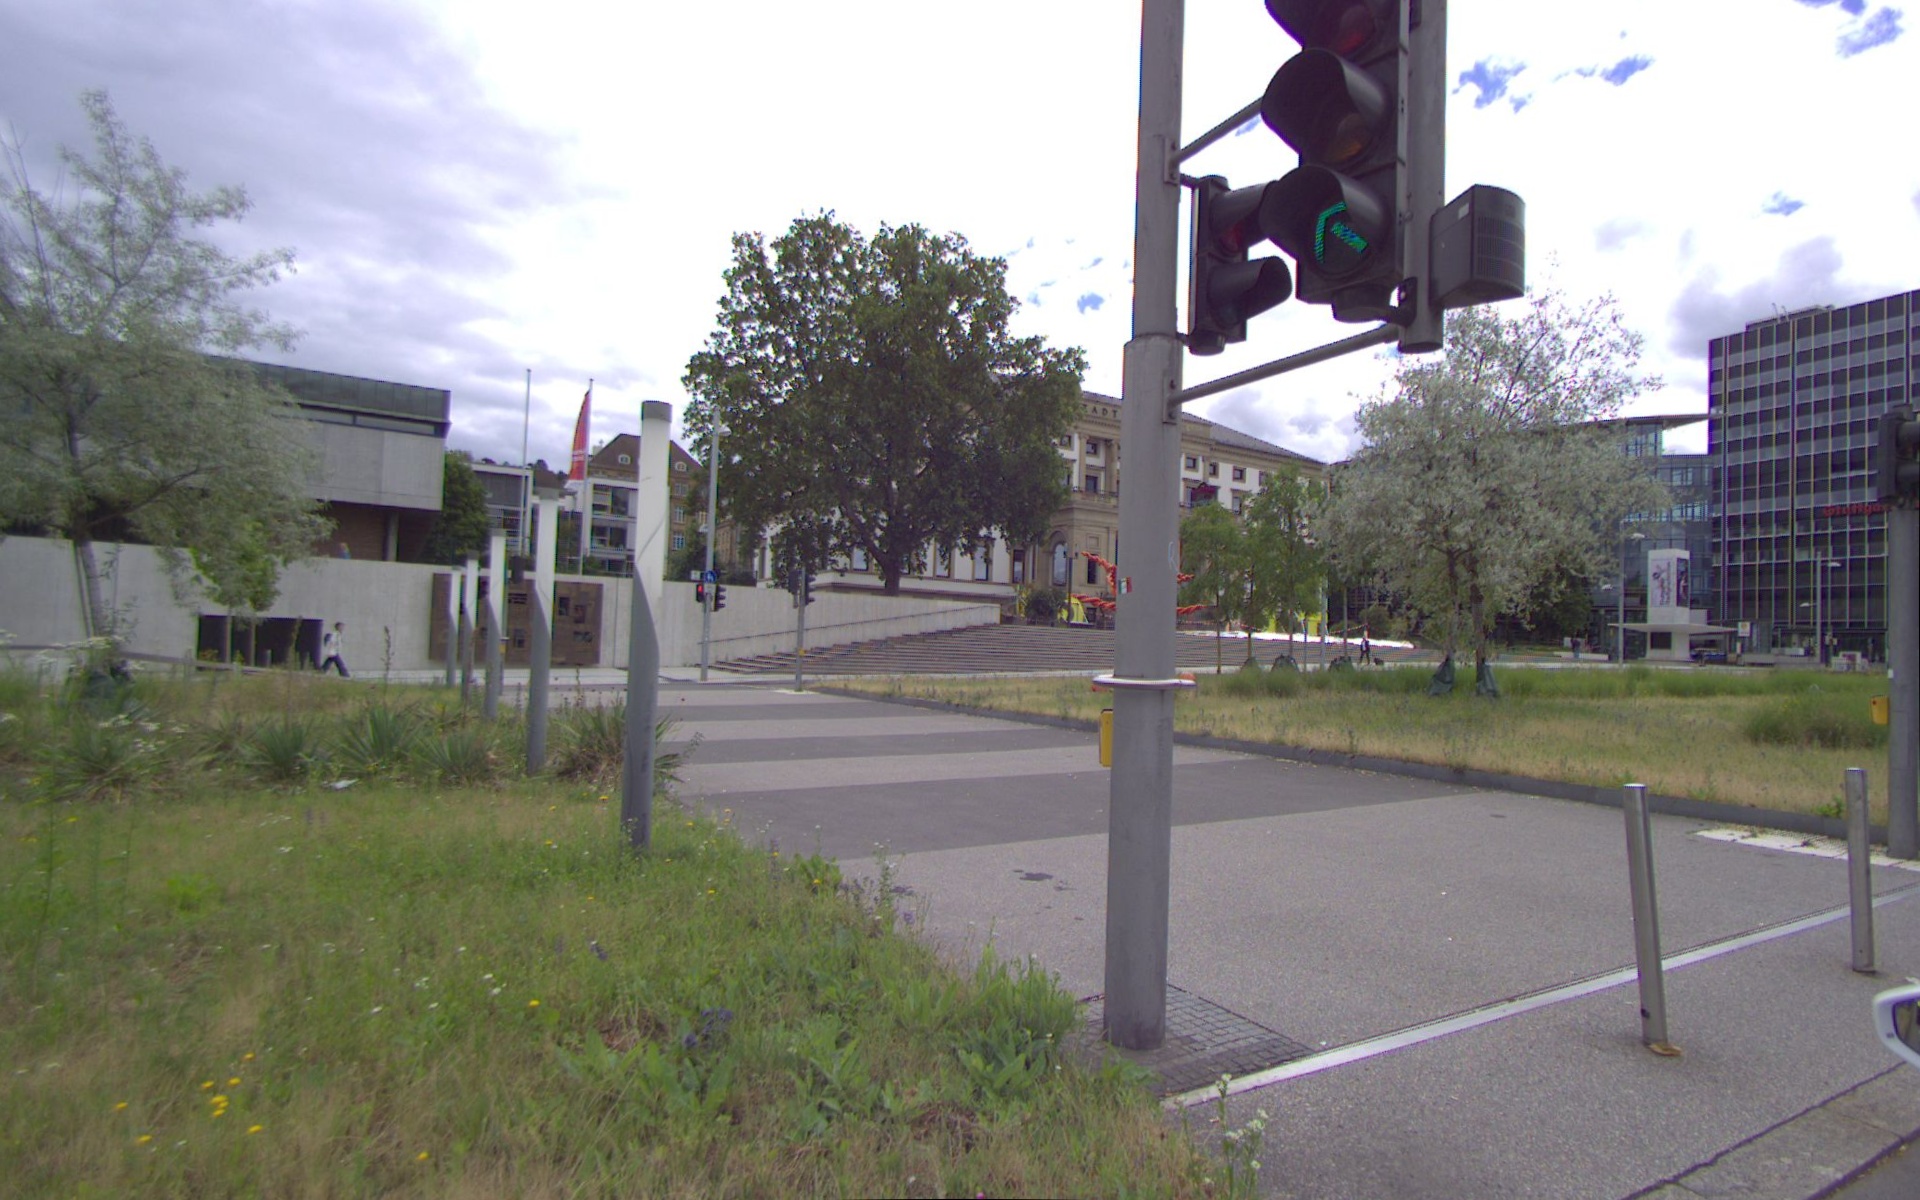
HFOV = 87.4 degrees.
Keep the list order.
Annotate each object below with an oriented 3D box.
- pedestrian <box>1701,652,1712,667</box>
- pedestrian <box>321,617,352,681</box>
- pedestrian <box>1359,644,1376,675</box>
[{"bbox_3d":[55.281,4.391,74.398,0.553,1.095,0.473,2,-1,-29],"label":"pedestrian"},{"bbox_3d":[-17.315,1.354,27.902,0.656,1.756,0.537,2,-1,-30],"label":"pedestrian"},{"bbox_3d":[22.068,3.222,54.414,0.643,1.671,0.521,2,-1,-31],"label":"pedestrian"}]
